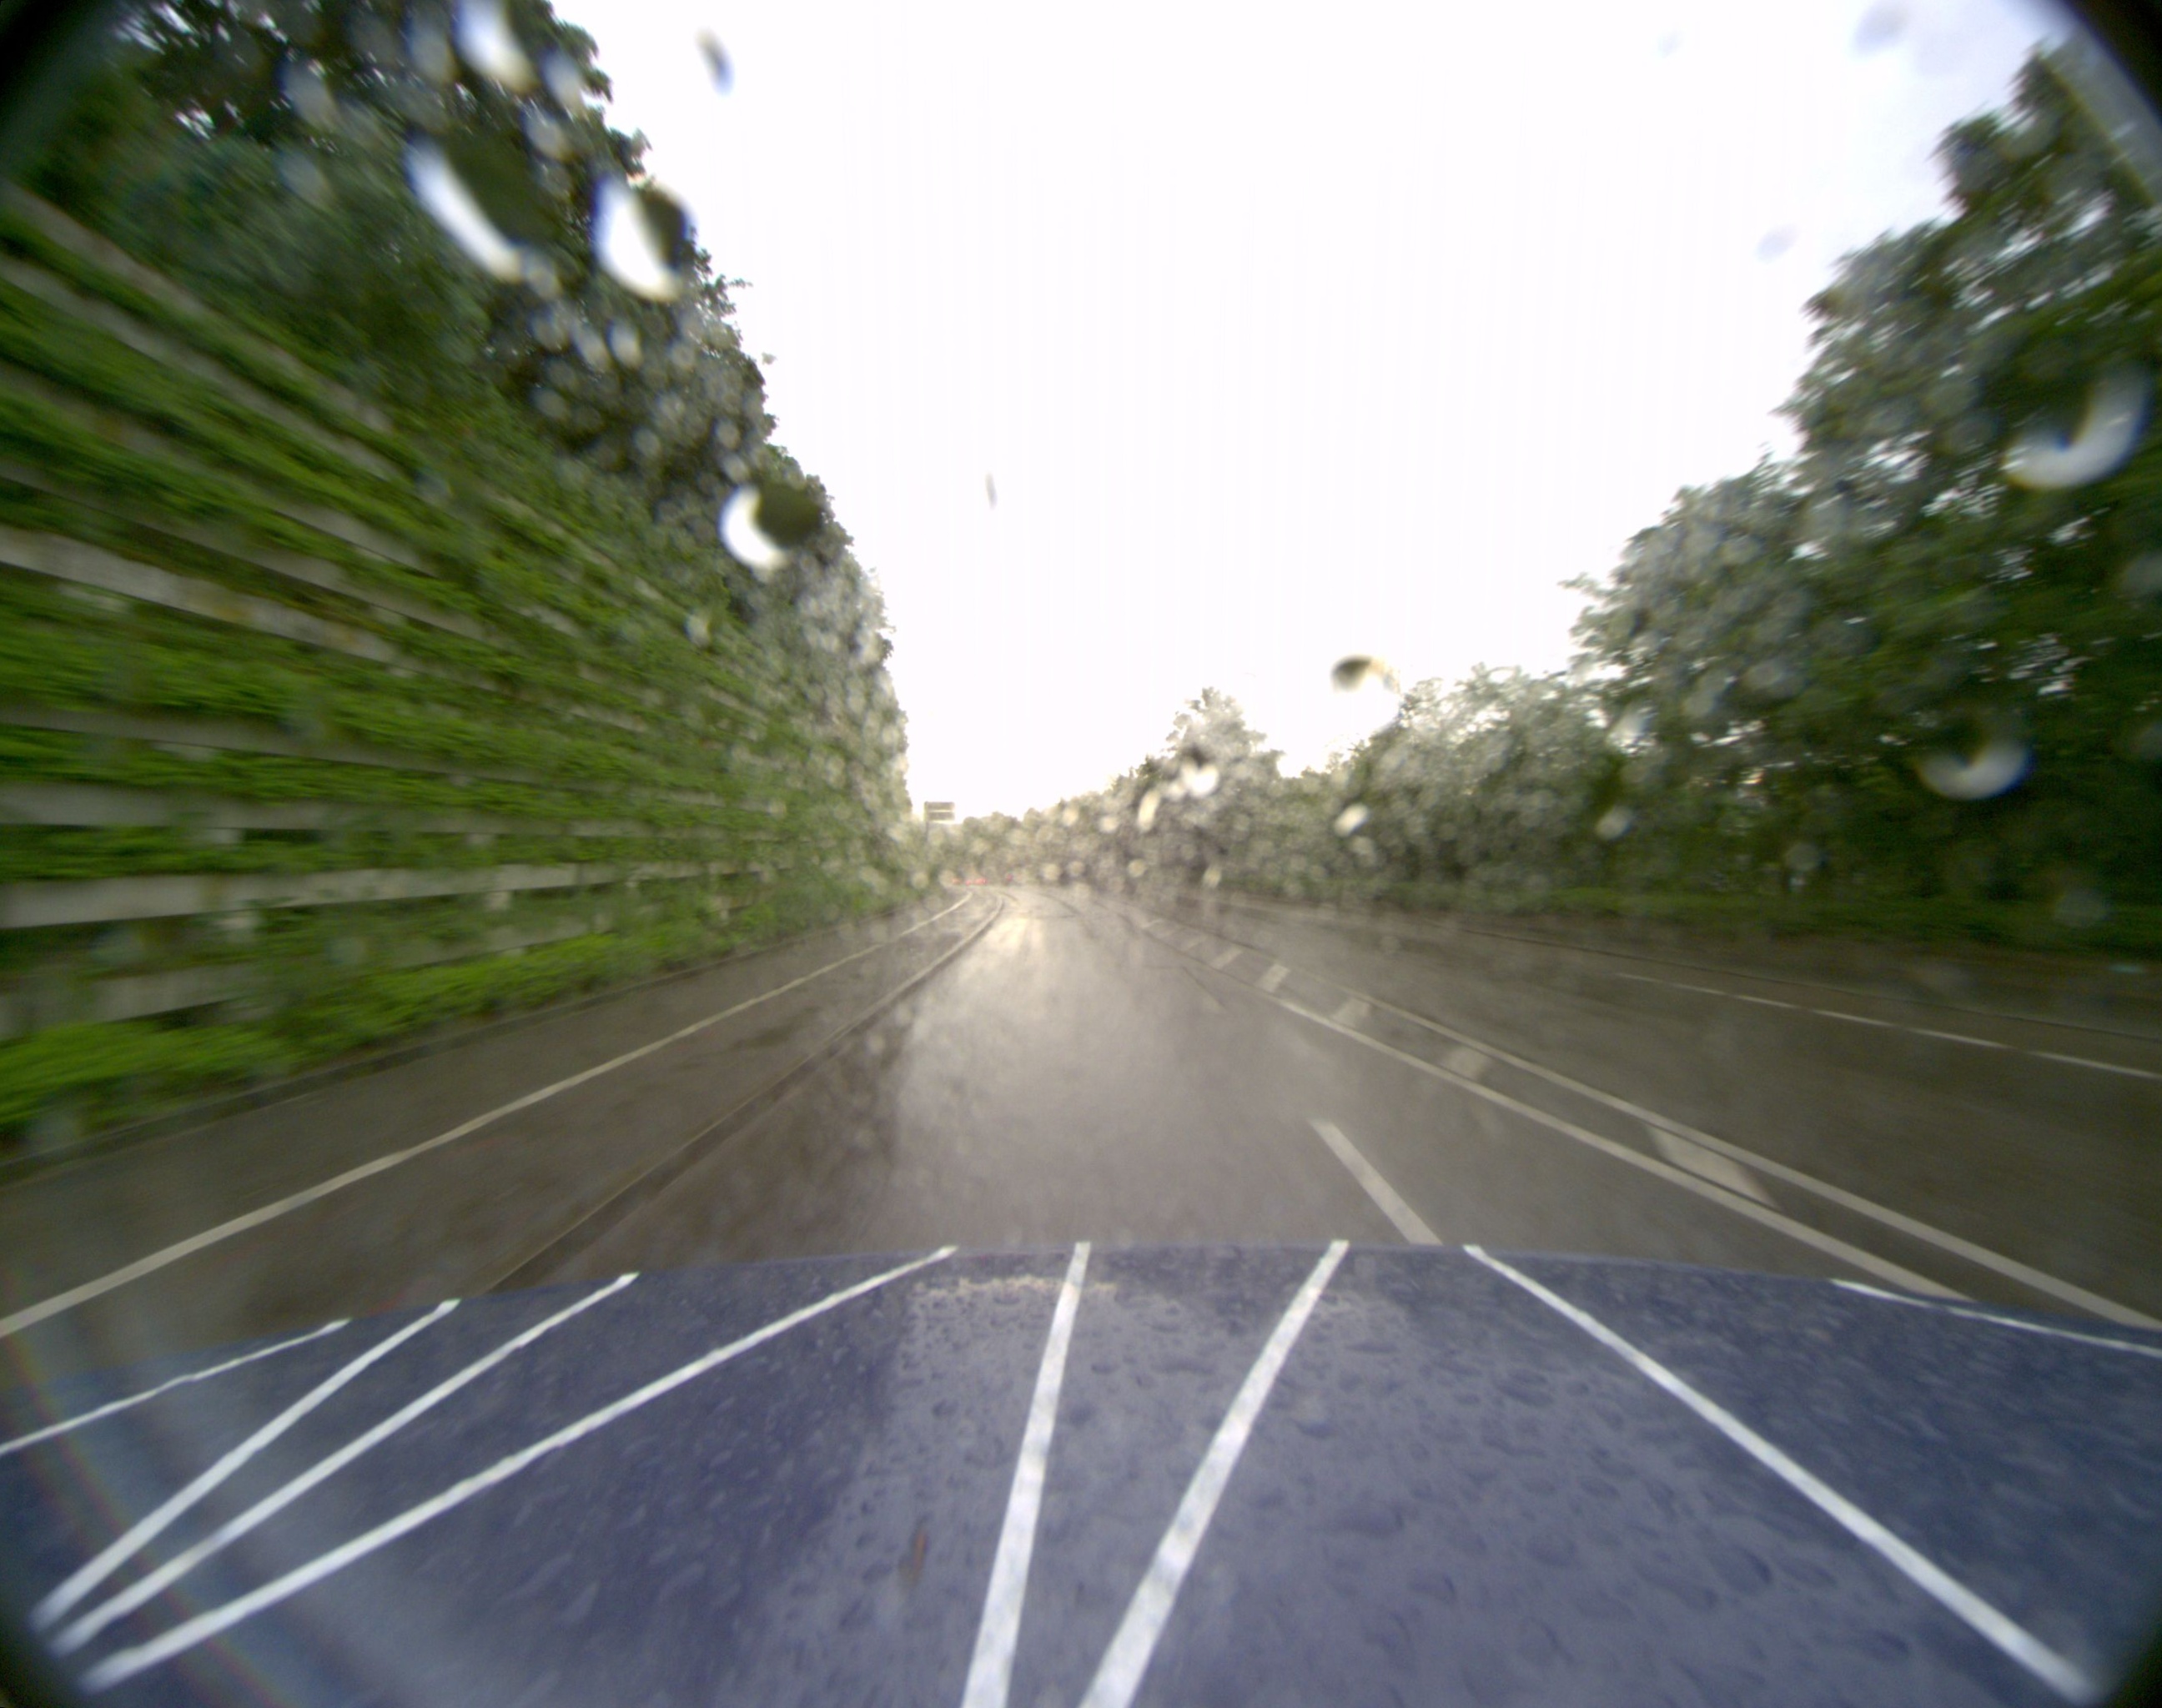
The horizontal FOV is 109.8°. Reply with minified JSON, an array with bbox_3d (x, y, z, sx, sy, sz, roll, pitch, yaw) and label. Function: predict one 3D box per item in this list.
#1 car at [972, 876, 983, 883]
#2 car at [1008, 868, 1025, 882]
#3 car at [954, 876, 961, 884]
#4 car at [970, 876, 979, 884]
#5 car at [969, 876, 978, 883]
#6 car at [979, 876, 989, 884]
[{"bbox_3d":[-24.242,5.915,177.793,2.001,1.517,3.995,-1,-1,-15],"label":"car"},{"bbox_3d":[-7.484,2.417,87.689,1.803,1.626,3.998,0,-1,-8],"label":"car"},{"bbox_3d":[-32.465,6.806,199.138,1.800,1.832,3.997,-2,-1,-9],"label":"car"},{"bbox_3d":[-29.668,7.164,211.327,1.999,2.001,3.999,-2,-1,-3],"label":"car"},{"bbox_3d":[-27.470,6.466,194.224,2.000,1.517,3.996,-2,-1,-12],"label":"car"},{"bbox_3d":[-18.751,5.092,147.104,1.800,1.401,3.998,-2,0,-6],"label":"car"}]
